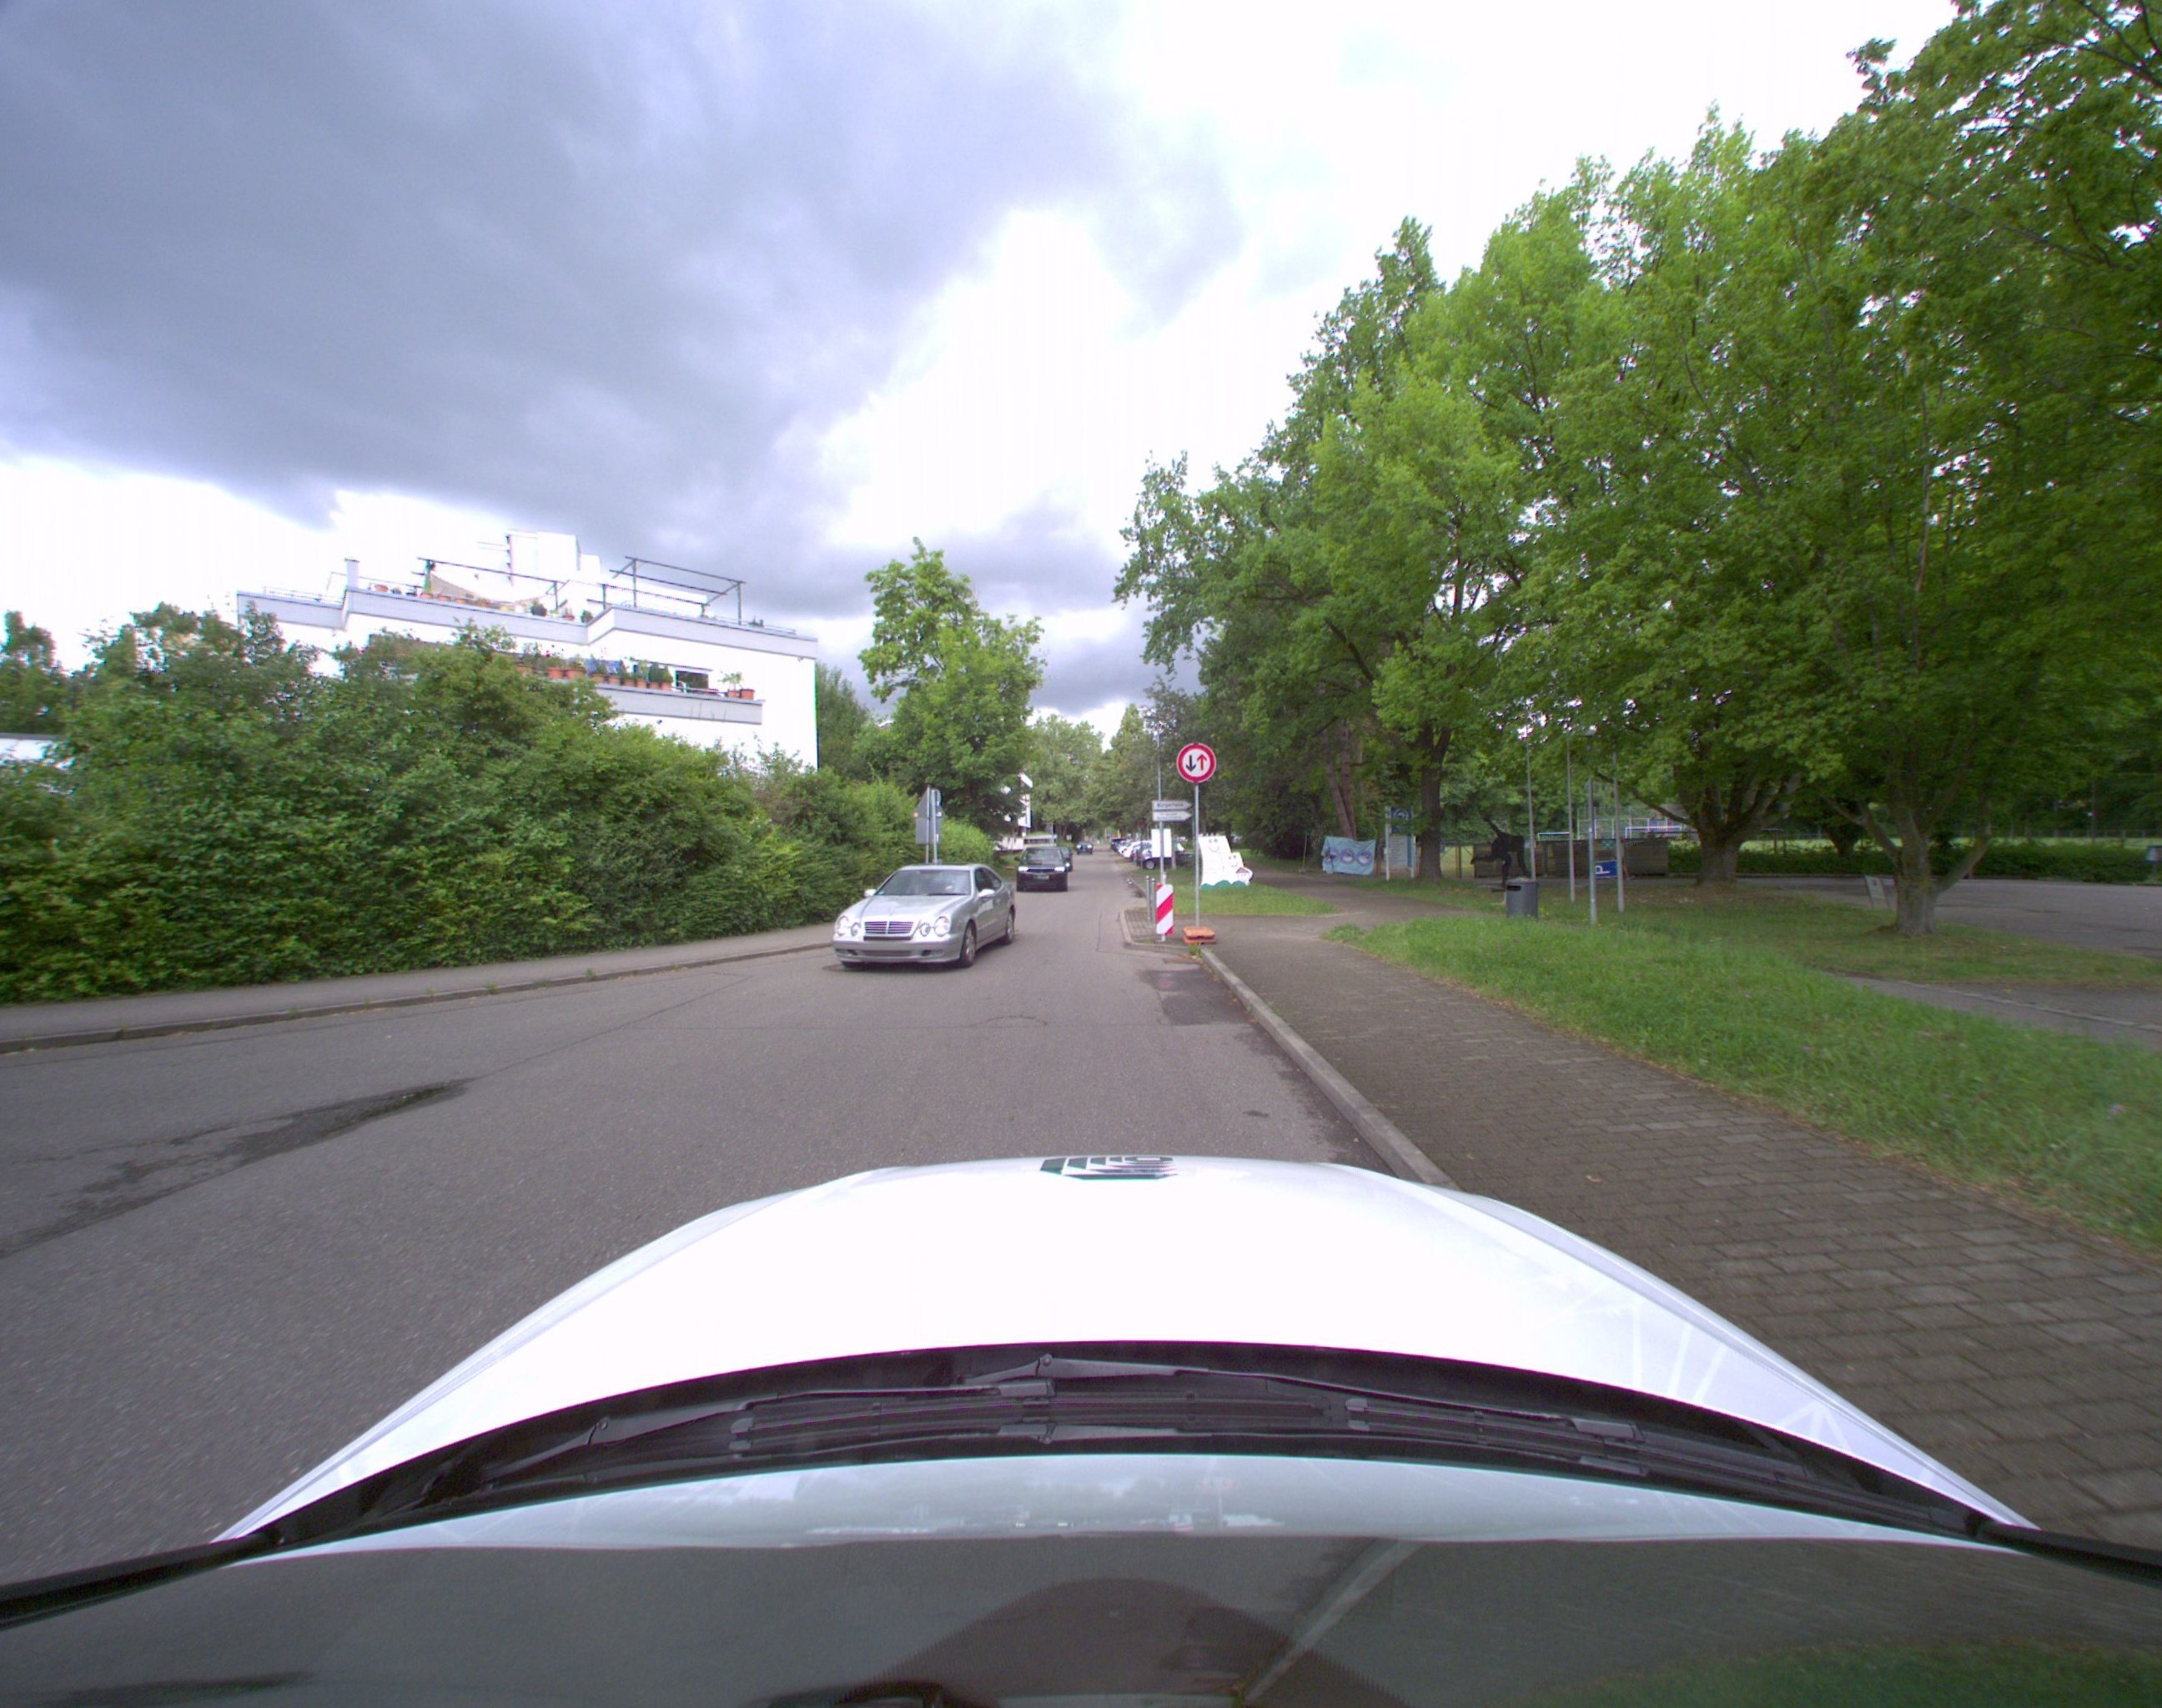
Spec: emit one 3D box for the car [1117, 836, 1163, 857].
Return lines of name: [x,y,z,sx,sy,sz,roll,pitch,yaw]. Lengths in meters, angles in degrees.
car: [5.570,-0.720,77.362,4.053,1.687,1.821,-5,1,-3]

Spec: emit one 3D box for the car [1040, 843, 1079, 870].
car: [-1.310,0.129,51.161,1.793,1.591,4.305,-1,1,7]

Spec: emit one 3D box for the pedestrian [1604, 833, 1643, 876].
pedestrian: [21.885,0.023,32.869,1.137,1.674,0.798,-3,-1,26]

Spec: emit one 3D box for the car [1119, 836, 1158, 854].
car: [6.435,-0.996,91.055,4.053,1.687,1.821,-5,1,-3]

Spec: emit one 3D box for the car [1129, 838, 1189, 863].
car: [5.465,-0.242,57.308,4.049,1.568,1.823,-3,1,0]

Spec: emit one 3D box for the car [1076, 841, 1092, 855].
car: [0.394,-0.806,105.656,1.962,1.747,4.338,-1,1,0]

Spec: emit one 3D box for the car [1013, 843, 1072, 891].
car: [-1.333,0.417,30.001,1.796,1.591,4.298,-1,1,2]

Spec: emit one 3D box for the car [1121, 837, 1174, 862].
car: [5.495,-0.391,67.460,4.053,1.687,1.821,-5,1,-3]

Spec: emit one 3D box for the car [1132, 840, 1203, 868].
car: [5.248,0.012,49.737,4.049,1.434,2.000,-3,-1,0]

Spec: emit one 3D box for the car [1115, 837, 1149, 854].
car: [6.390,-1.065,101.974,4.053,1.687,1.821,-5,1,-3]

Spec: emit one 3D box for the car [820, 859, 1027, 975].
car: [-2.068,0.788,12.053,1.772,1.306,4.304,-1,1,6]

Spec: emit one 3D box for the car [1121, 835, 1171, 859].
car: [5.663,-0.625,71.324,4.053,1.687,1.821,-5,1,-3]

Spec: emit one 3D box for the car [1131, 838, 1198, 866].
car: [5.315,-0.099,52.028,4.049,1.568,1.822,-3,-1,0]

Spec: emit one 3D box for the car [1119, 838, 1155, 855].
car: [6.633,-0.859,96.819,4.053,1.687,1.821,-5,1,-3]
